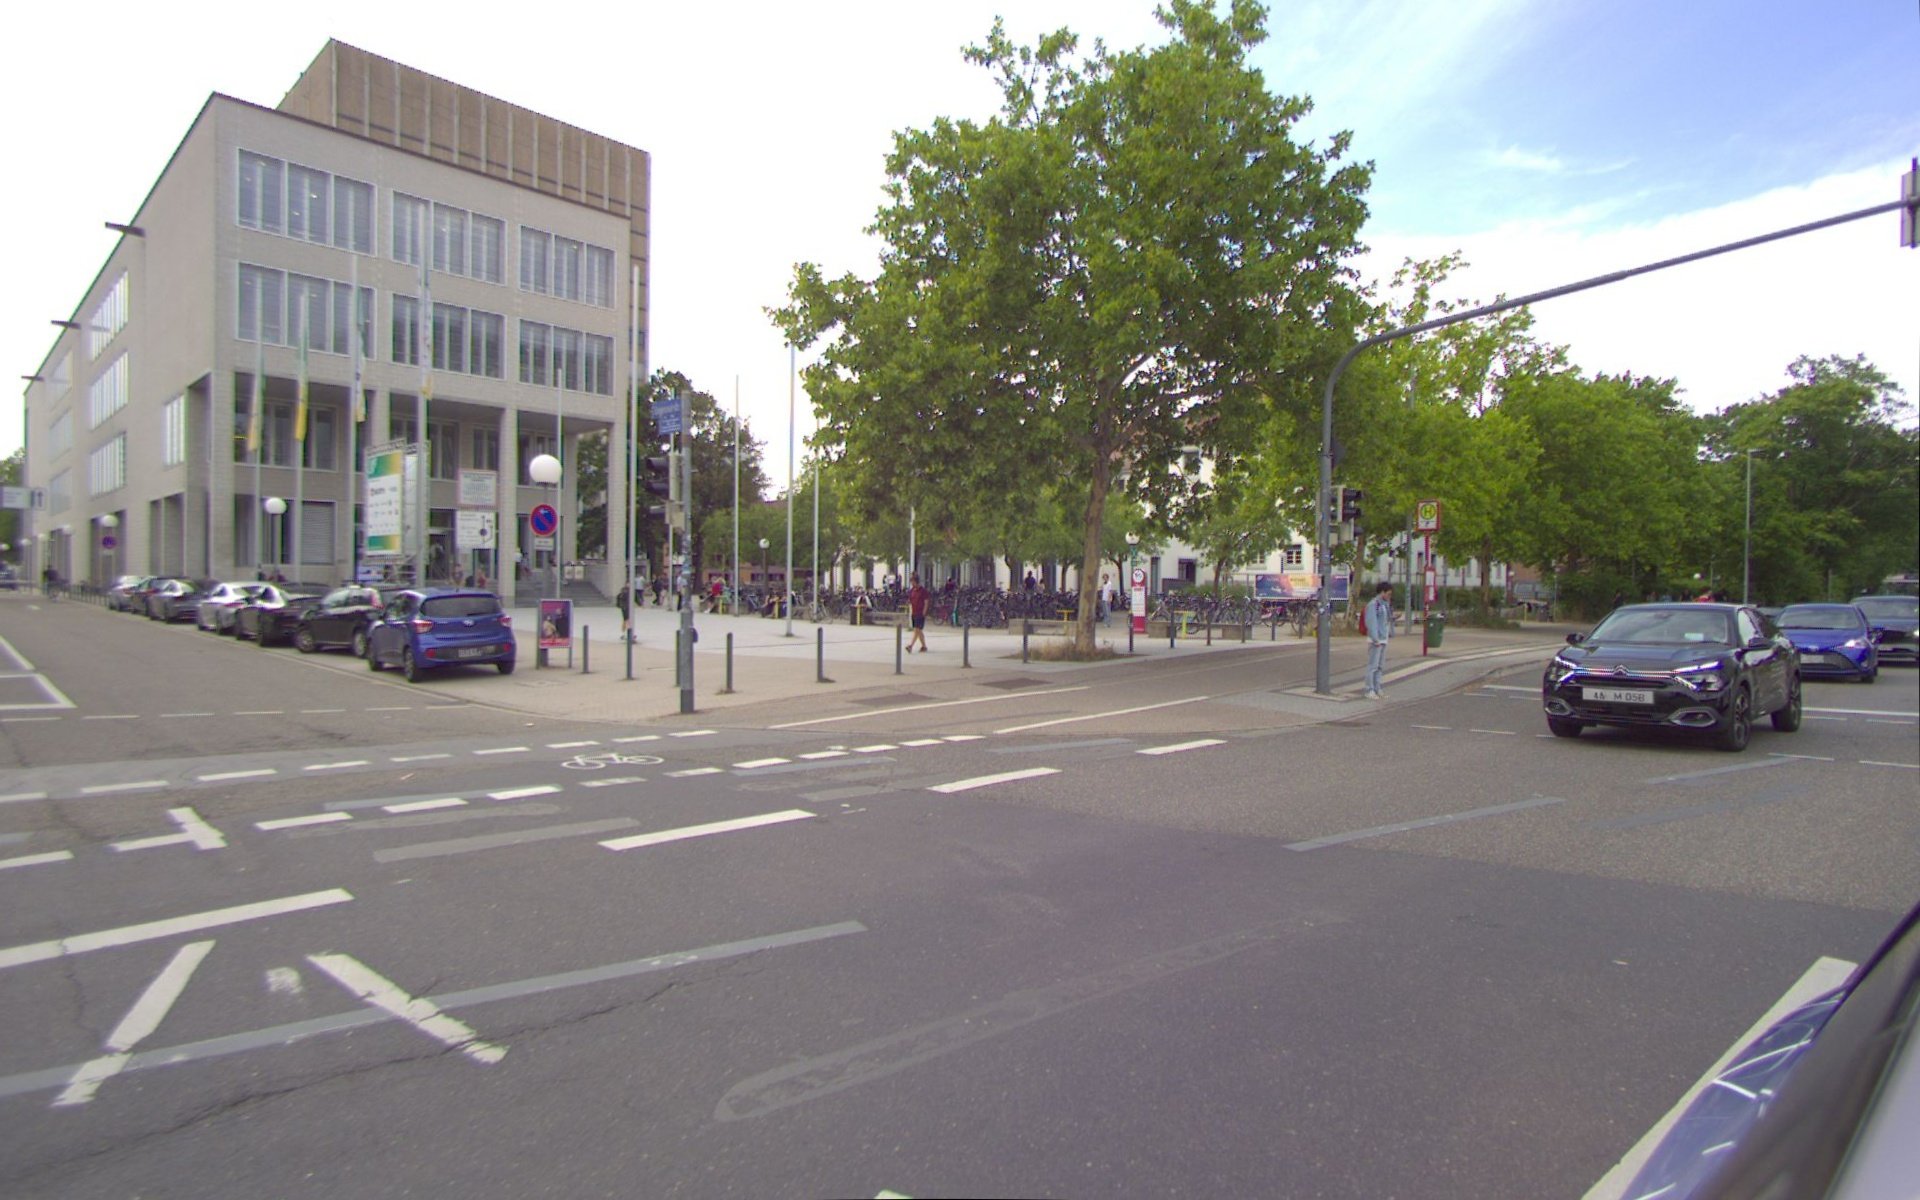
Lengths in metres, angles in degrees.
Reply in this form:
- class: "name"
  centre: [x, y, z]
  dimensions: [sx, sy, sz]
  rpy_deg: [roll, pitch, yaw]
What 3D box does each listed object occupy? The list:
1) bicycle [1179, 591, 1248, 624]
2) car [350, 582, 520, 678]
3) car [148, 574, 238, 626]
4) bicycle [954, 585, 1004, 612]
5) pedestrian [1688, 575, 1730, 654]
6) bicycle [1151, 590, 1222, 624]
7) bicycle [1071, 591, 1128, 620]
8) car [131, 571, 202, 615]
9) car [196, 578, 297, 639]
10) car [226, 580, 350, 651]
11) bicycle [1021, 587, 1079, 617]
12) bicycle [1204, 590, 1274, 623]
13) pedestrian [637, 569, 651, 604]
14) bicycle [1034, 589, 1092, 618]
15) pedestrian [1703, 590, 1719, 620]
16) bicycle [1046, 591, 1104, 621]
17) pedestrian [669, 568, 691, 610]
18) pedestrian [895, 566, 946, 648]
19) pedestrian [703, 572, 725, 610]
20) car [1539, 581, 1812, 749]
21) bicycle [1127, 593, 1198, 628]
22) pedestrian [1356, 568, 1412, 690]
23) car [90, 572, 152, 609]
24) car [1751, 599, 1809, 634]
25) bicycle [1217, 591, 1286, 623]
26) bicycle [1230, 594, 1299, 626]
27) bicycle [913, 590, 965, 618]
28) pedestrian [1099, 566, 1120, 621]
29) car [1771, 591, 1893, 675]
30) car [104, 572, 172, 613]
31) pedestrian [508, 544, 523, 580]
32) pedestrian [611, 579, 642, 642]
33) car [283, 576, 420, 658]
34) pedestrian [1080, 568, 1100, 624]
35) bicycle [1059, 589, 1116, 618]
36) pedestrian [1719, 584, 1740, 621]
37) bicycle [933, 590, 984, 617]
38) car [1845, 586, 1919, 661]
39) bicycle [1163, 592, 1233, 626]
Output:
- class: "bicycle"
  centre: [9.205, 0.249, 36.831]
  dimensions: [0.706, 1.157, 2.467]
  rpy_deg: [0, 1, -44]
- class: "car"
  centre: [-9.313, 0.449, 17.854]
  dimensions: [3.572, 1.510, 1.648]
  rpy_deg: [1, 1, 45]
- class: "car"
  centre: [-25.397, -0.034, 33.445]
  dimensions: [4.215, 1.586, 1.786]
  rpy_deg: [1, 1, 45]
- class: "bicycle"
  centre: [0.830, -0.070, 44.817]
  dimensions: [0.706, 1.157, 2.467]
  rpy_deg: [0, 1, -44]
- class: "pedestrian"
  centre: [18.365, 0.336, 24.801]
  dimensions: [0.725, 1.877, 1.048]
  rpy_deg: [0, 0, 42]
- class: "bicycle"
  centre: [7.928, 0.232, 35.553]
  dimensions: [0.706, 1.157, 2.467]
  rpy_deg: [0, 1, -44]
- class: "bicycle"
  centre: [5.823, 0.214, 42.488]
  dimensions: [0.706, 1.157, 2.467]
  rpy_deg: [0, 1, -44]
- class: "car"
  centre: [-30.272, -0.288, 38.582]
  dimensions: [3.977, 1.586, 1.648]
  rpy_deg: [1, 1, 45]
- class: "car"
  centre: [-20.024, 0.179, 28.358]
  dimensions: [3.820, 1.586, 1.648]
  rpy_deg: [1, 1, 45]
- class: "car"
  centre: [-16.474, 0.314, 24.738]
  dimensions: [4.439, 1.586, 1.648]
  rpy_deg: [1, 1, 45]
- class: "bicycle"
  centre: [3.556, 0.073, 40.215]
  dimensions: [0.706, 1.157, 2.467]
  rpy_deg: [0, 1, -44]
- class: "bicycle"
  centre: [10.195, 0.218, 37.079]
  dimensions: [0.706, 1.157, 2.467]
  rpy_deg: [0, 1, -44]
- class: "pedestrian"
  centre: [-15.224, -0.650, 48.711]
  dimensions: [0.590, 1.661, 0.634]
  rpy_deg: [0, -1, -22]
- class: "bicycle"
  centre: [4.135, 0.120, 40.793]
  dimensions: [0.706, 1.157, 2.467]
  rpy_deg: [0, 1, -44]
- class: "pedestrian"
  centre: [40.889, 0.262, 55.102]
  dimensions: [0.644, 1.585, 0.792]
  rpy_deg: [1, 0, 43]
- class: "bicycle"
  centre: [4.685, 0.229, 41.333]
  dimensions: [0.706, 1.157, 2.467]
  rpy_deg: [0, 1, -44]
- class: "pedestrian"
  centre: [-12.577, -0.474, 45.459]
  dimensions: [0.721, 1.867, 0.596]
  rpy_deg: [-1, -1, 30]
- class: "pedestrian"
  centre: [-0.914, 0.154, 23.280]
  dimensions: [0.876, 1.827, 0.768]
  rpy_deg: [0, -1, -41]
- class: "pedestrian"
  centre: [-10.787, -0.392, 44.321]
  dimensions: [0.722, 1.617, 0.595]
  rpy_deg: [-1, -1, 32]
- class: "car"
  centre: [8.294, 0.646, 11.590]
  dimensions: [4.106, 1.576, 1.801]
  rpy_deg: [1, -2, -44]
- class: "bicycle"
  centre: [6.953, 0.348, 34.857]
  dimensions: [0.706, 1.157, 2.467]
  rpy_deg: [0, 1, -44]
- class: "pedestrian"
  centre: [6.590, 0.429, 15.733]
  dimensions: [0.670, 1.840, 0.574]
  rpy_deg: [0, 0, -43]
- class: "car"
  centre: [-37.682, -0.441, 45.429]
  dimensions: [3.977, 1.586, 1.725]
  rpy_deg: [1, 1, 45]
- class: "car"
  centre: [35.513, 0.678, 43.803]
  dimensions: [1.699, 1.386, 3.772]
  rpy_deg: [1, 1, 43]
- class: "bicycle"
  centre: [10.824, 0.236, 37.657]
  dimensions: [0.706, 1.157, 2.467]
  rpy_deg: [0, 1, -44]
- class: "bicycle"
  centre: [11.461, 0.355, 38.160]
  dimensions: [0.706, 1.157, 2.467]
  rpy_deg: [0, 1, -44]
- class: "bicycle"
  centre: [-0.905, 0.156, 43.046]
  dimensions: [0.706, 1.157, 2.467]
  rpy_deg: [0, 1, -44]
- class: "pedestrian"
  centre: [5.398, -0.228, 36.609]
  dimensions: [0.674, 1.988, 0.601]
  rpy_deg: [-1, -1, 5]
- class: "car"
  centre: [17.585, 0.585, 20.349]
  dimensions: [1.699, 1.512, 3.772]
  rpy_deg: [1, 1, 43]
- class: "car"
  centre: [-33.587, -0.317, 41.309]
  dimensions: [3.977, 1.586, 1.725]
  rpy_deg: [1, 1, 45]
- class: "pedestrian"
  centre: [-22.099, -1.872, 50.300]
  dimensions: [0.619, 1.736, 0.673]
  rpy_deg: [0, -1, -28]
- class: "pedestrian"
  centre: [-9.361, 0.284, 28.413]
  dimensions: [0.687, 1.730, 0.956]
  rpy_deg: [0, -1, -27]
- class: "car"
  centre: [-13.029, 0.305, 21.583]
  dimensions: [3.684, 1.586, 1.648]
  rpy_deg: [1, 1, 45]
- class: "pedestrian"
  centre: [4.711, -0.141, 36.674]
  dimensions: [0.674, 1.988, 0.601]
  rpy_deg: [-1, -1, 5]
- class: "bicycle"
  centre: [5.261, 0.145, 41.922]
  dimensions: [0.706, 1.157, 2.467]
  rpy_deg: [0, 1, -44]
- class: "pedestrian"
  centre: [41.394, 0.146, 54.455]
  dimensions: [0.796, 1.958, 0.748]
  rpy_deg: [1, 0, 44]
- class: "bicycle"
  centre: [-0.077, 0.142, 43.884]
  dimensions: [0.706, 1.157, 2.467]
  rpy_deg: [0, 1, -44]
- class: "car"
  centre: [22.858, 0.520, 24.588]
  dimensions: [1.899, 1.669, 4.572]
  rpy_deg: [0, 0, 43]
- class: "bicycle"
  centre: [8.516, 0.311, 36.242]
  dimensions: [0.706, 1.157, 2.467]
  rpy_deg: [0, 1, -44]
